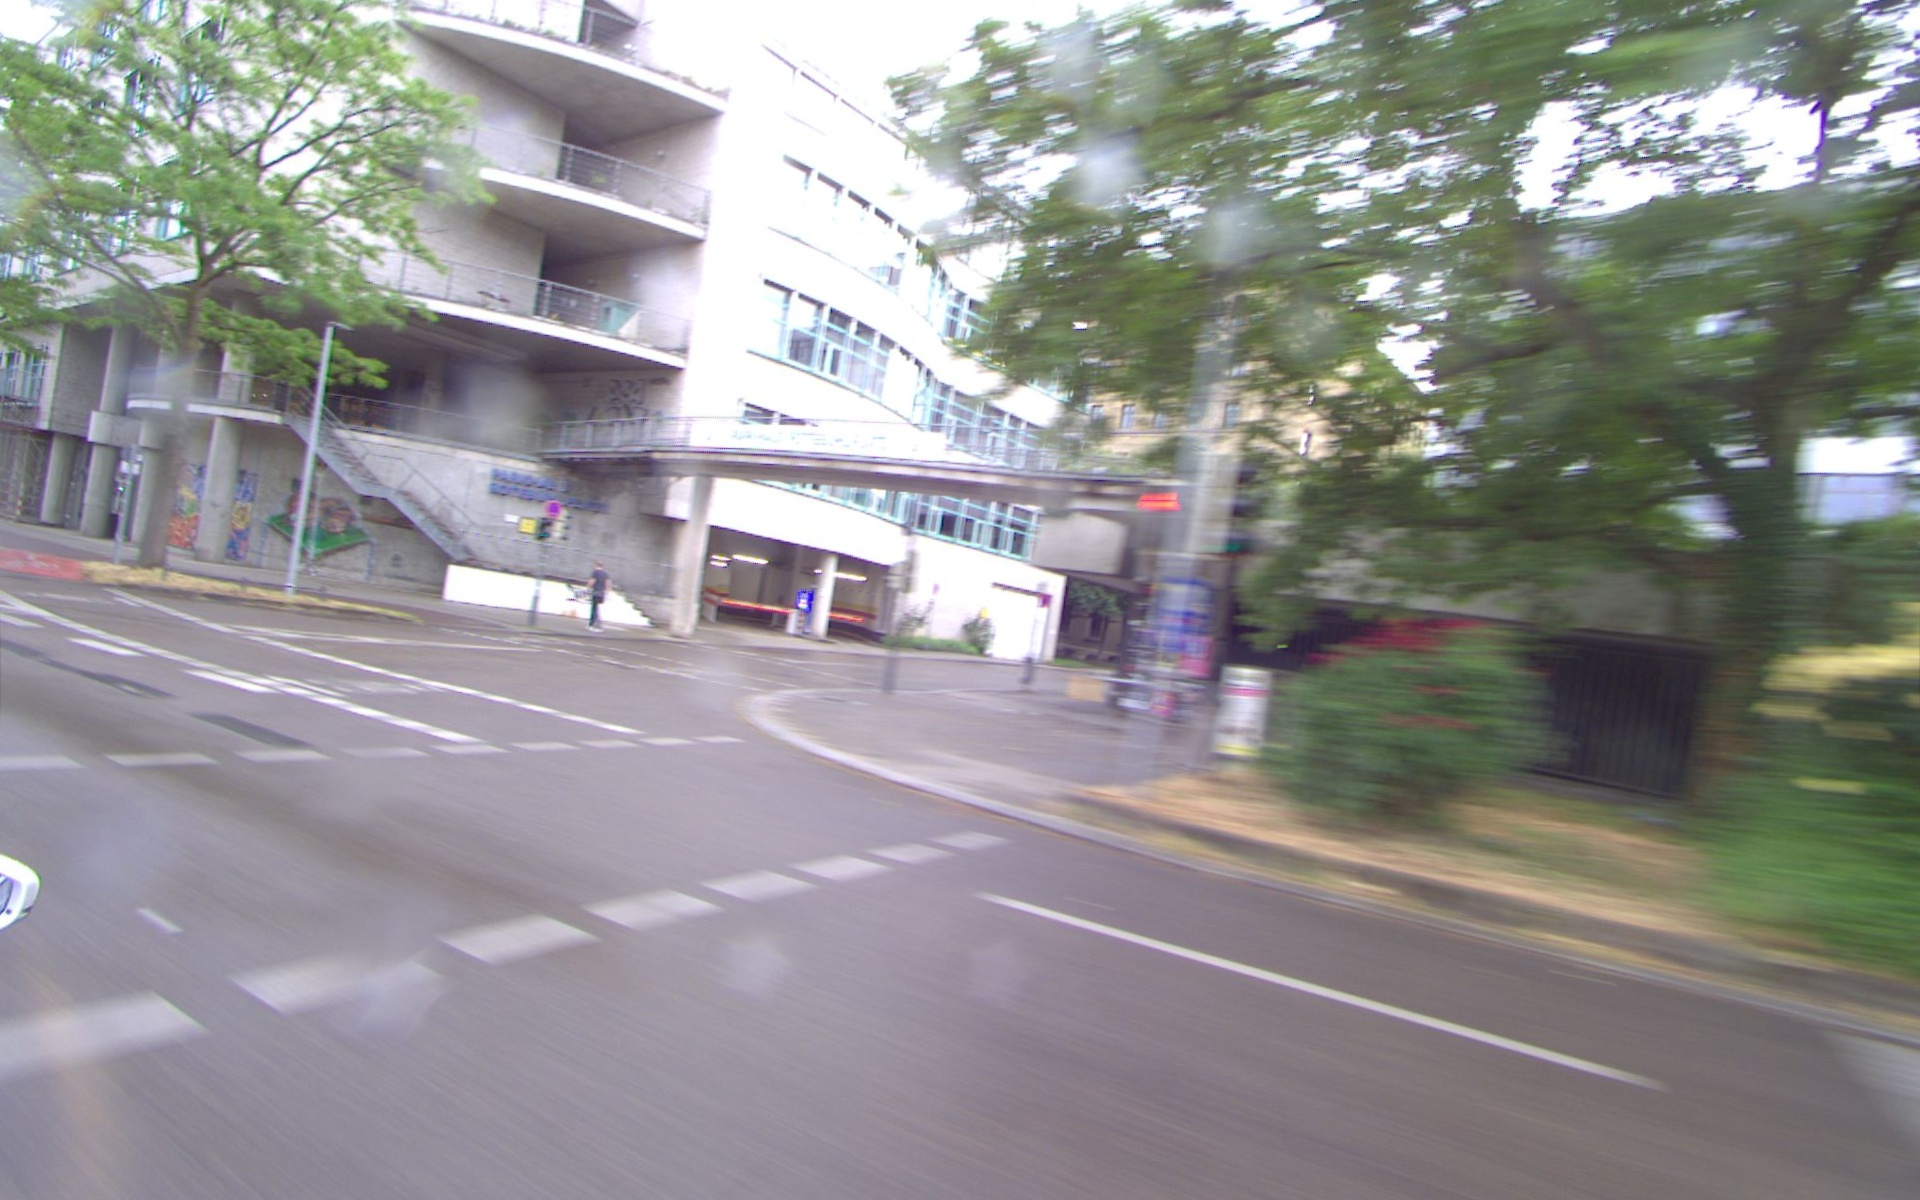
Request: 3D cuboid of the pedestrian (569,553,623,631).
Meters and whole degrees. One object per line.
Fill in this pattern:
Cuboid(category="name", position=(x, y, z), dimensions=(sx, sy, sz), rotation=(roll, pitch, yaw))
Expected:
Cuboid(category="pedestrian", position=(-9.714, -0.213, 26.846), dimensions=(0.745, 1.933, 0.847), rotation=(7, 0, 32))
